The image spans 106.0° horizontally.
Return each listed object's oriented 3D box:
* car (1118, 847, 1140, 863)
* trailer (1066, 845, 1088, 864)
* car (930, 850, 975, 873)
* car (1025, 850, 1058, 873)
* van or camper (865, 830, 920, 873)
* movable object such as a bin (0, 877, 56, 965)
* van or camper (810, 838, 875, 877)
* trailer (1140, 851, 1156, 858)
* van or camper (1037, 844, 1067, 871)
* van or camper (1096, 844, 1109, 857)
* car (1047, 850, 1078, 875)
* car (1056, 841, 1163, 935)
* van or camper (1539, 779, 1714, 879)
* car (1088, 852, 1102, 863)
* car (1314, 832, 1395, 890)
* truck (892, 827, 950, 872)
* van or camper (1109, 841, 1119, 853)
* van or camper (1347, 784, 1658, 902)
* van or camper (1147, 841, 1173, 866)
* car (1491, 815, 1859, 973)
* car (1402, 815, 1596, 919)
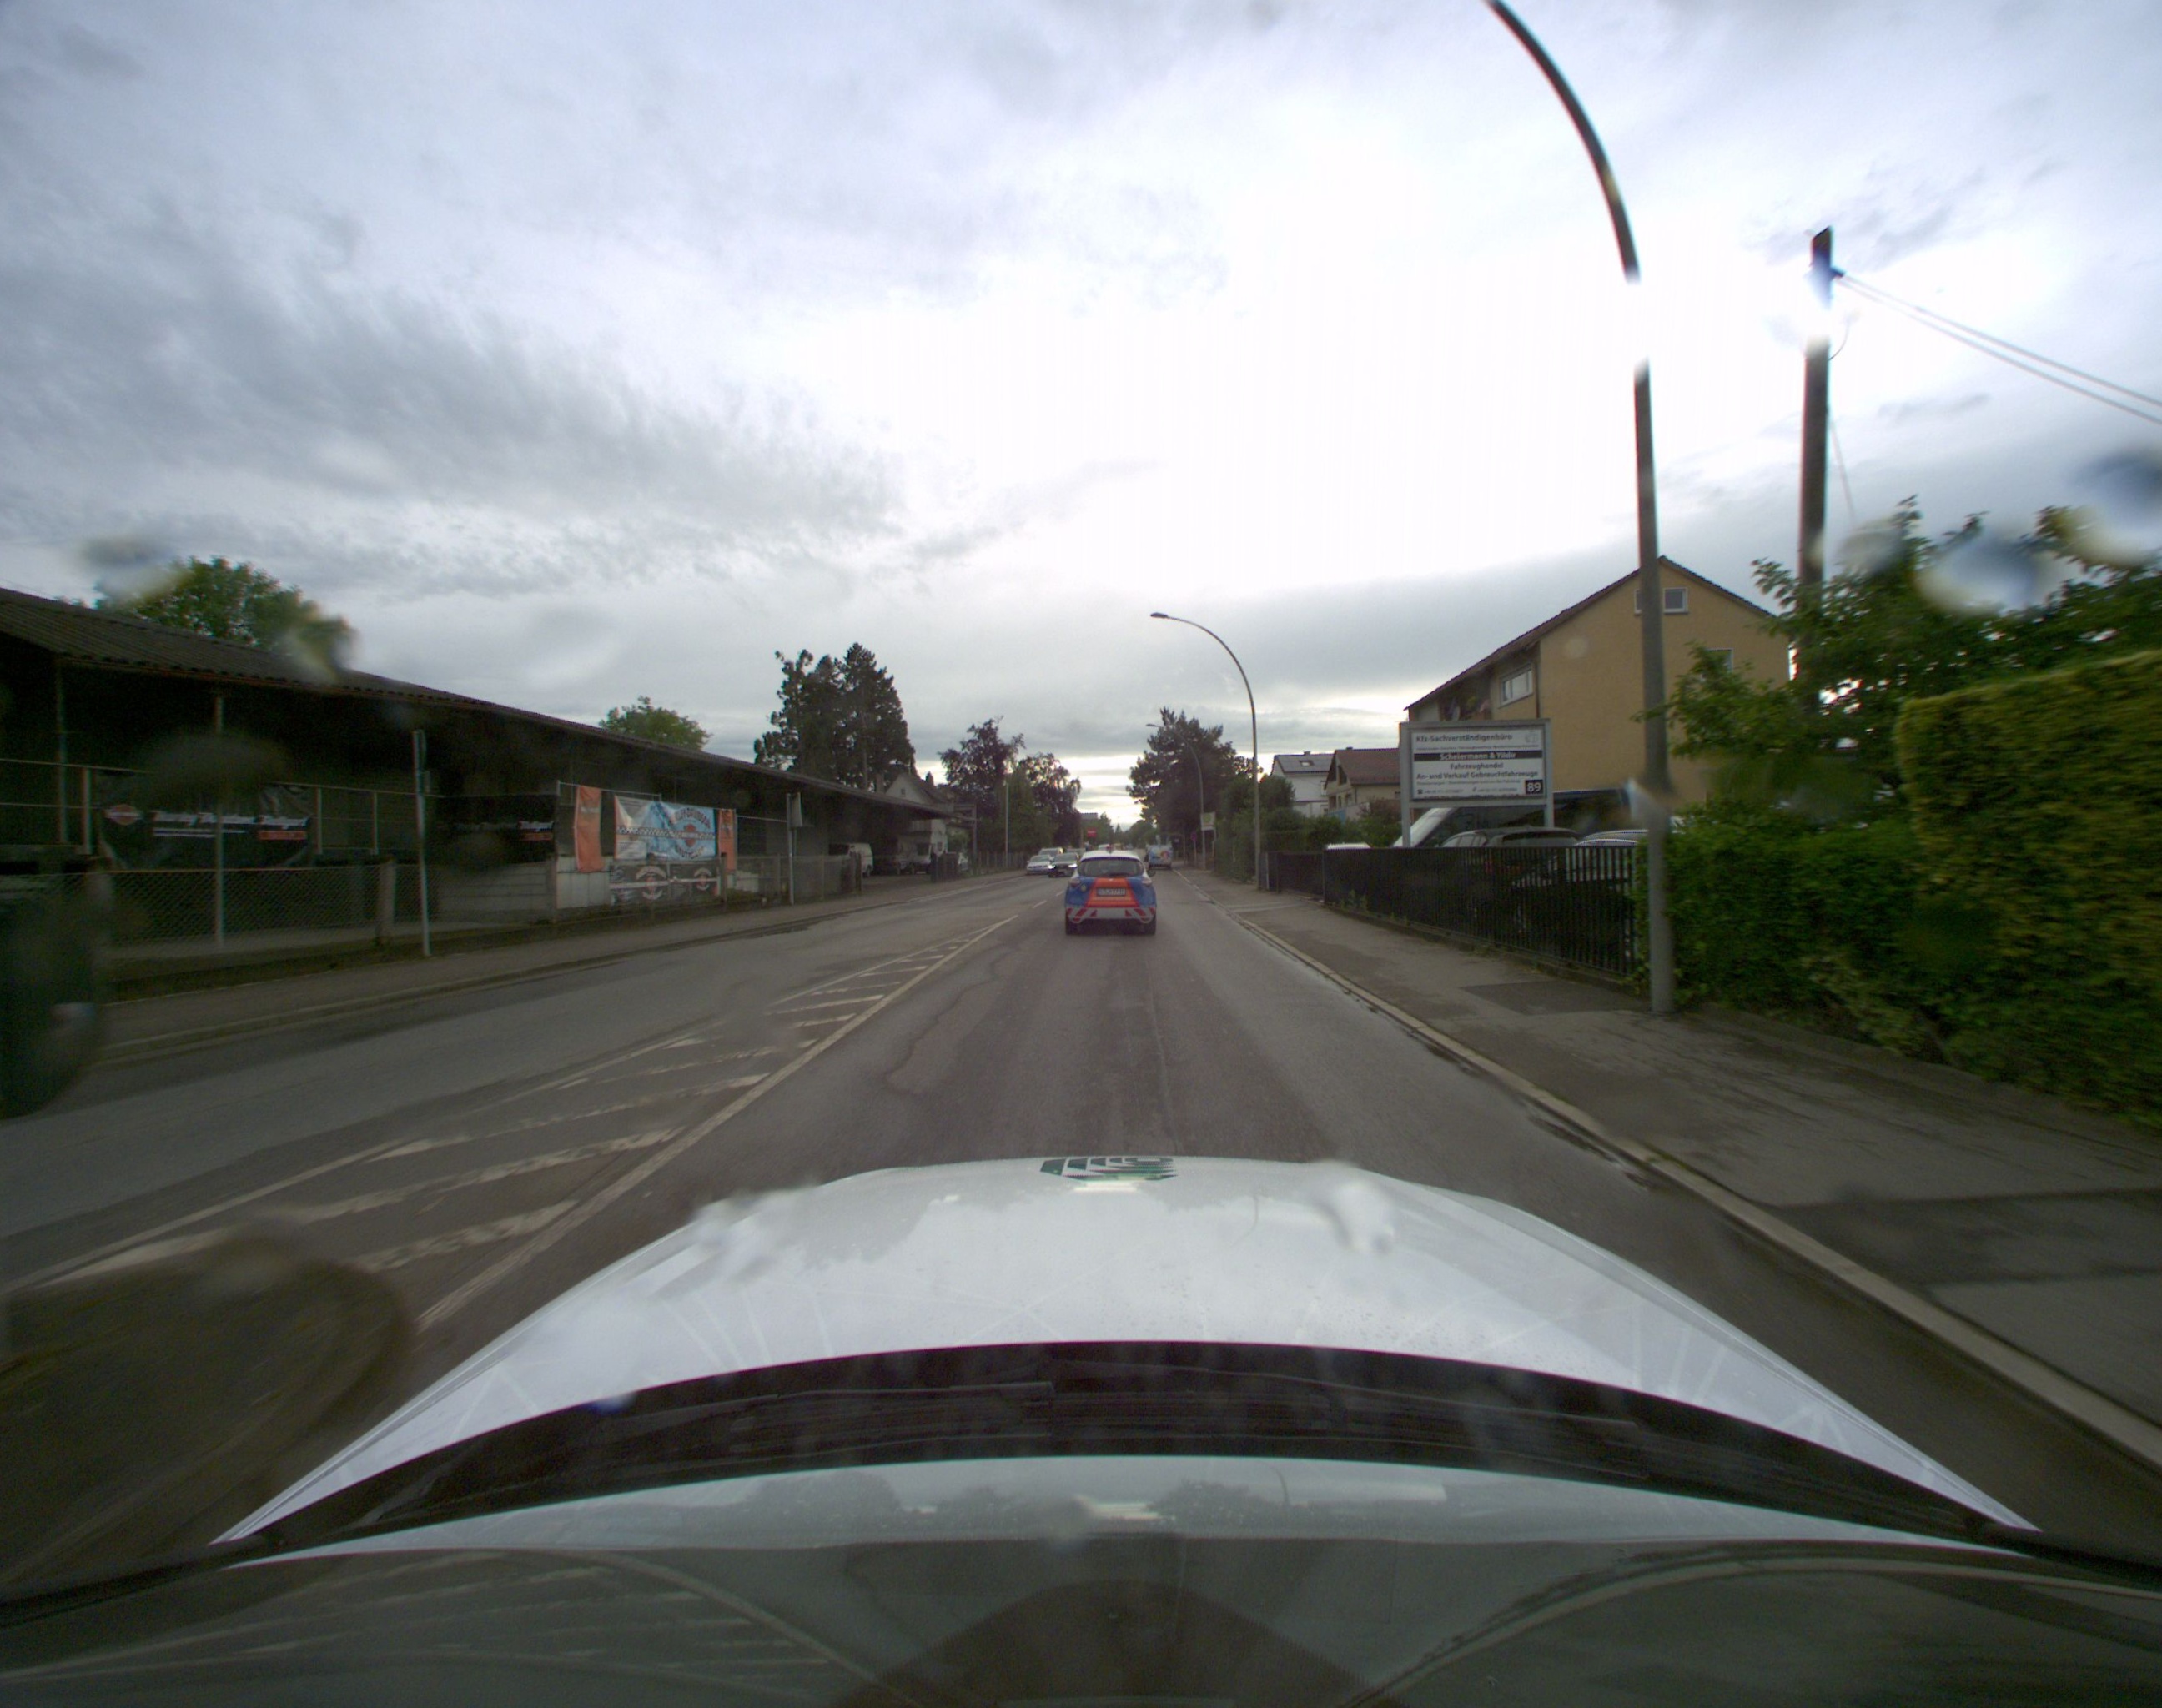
[{"bbox_3d":[4.921,0.121,83.319,1.983,1.420,4.008,-3,1,7],"label":"car"},{"bbox_3d":[-0.433,0.117,92.108,2.211,2.014,4.438,1,-2,2],"label":"trailer"},{"bbox_3d":[-8.422,0.464,53.799,1.927,1.444,4.787,0,0,4],"label":"car"},{"bbox_3d":[-2.810,0.553,58.640,1.734,1.480,4.188,-3,-2,5],"label":"car"},{"bbox_3d":[-11.507,-0.107,50.078,1.851,2.438,5.236,1,-2,3],"label":"van or camper"},{"bbox_3d":[-13.497,0.825,10.106,0.760,1.056,0.625,-1,0,3],"label":"movable object such as a bin"},{"bbox_3d":[-12.563,0.187,43.229,1.986,1.909,4.474,1,0,2],"label":"van or camper"},{"bbox_3d":[8.614,0.069,105.310,1.930,0.754,2.861,-1,0,3],"label":"trailer"},{"bbox_3d":[-2.256,0.354,65.381,1.882,2.014,5.101,1,-2,4],"label":"van or camper"},{"bbox_3d":[3.968,-0.677,146.921,2.152,2.353,4.337,-1,0,3],"label":"van or camper"},{"bbox_3d":[-1.111,0.550,51.287,1.736,1.451,4.544,1,-2,2],"label":"car"},{"bbox_3d":[0.647,0.596,16.567,1.880,1.632,4.005,-1,0,4],"label":"car"},{"bbox_3d":[16.508,-0.576,25.144,2.046,2.680,6.033,-1,-2,9],"label":"van or camper"},{"bbox_3d":[2.171,0.572,123.068,1.985,1.596,4.002,1,-2,3],"label":"car"},{"bbox_3d":[8.587,0.268,25.965,2.105,1.650,5.256,0,-2,15],"label":"car"},{"bbox_3d":[-10.871,-0.272,55.781,2.384,2.927,5.963,1,-1,4],"label":"truck"},{"bbox_3d":[7.582,-1.592,187.082,1.985,2.775,5.445,-1,0,3],"label":"van or camper"},{"bbox_3d":[9.298,-0.194,18.444,5.878,2.486,2.134,0,-2,3],"label":"van or camper"},{"bbox_3d":[6.124,-0.038,63.396,1.747,1.883,4.003,-1,0,3],"label":"van or camper"},{"bbox_3d":[6.663,0.355,9.808,1.653,1.456,4.251,1,0,6],"label":"car"},{"bbox_3d":[7.308,0.256,14.784,1.653,1.567,4.574,1,-2,7],"label":"car"}]
